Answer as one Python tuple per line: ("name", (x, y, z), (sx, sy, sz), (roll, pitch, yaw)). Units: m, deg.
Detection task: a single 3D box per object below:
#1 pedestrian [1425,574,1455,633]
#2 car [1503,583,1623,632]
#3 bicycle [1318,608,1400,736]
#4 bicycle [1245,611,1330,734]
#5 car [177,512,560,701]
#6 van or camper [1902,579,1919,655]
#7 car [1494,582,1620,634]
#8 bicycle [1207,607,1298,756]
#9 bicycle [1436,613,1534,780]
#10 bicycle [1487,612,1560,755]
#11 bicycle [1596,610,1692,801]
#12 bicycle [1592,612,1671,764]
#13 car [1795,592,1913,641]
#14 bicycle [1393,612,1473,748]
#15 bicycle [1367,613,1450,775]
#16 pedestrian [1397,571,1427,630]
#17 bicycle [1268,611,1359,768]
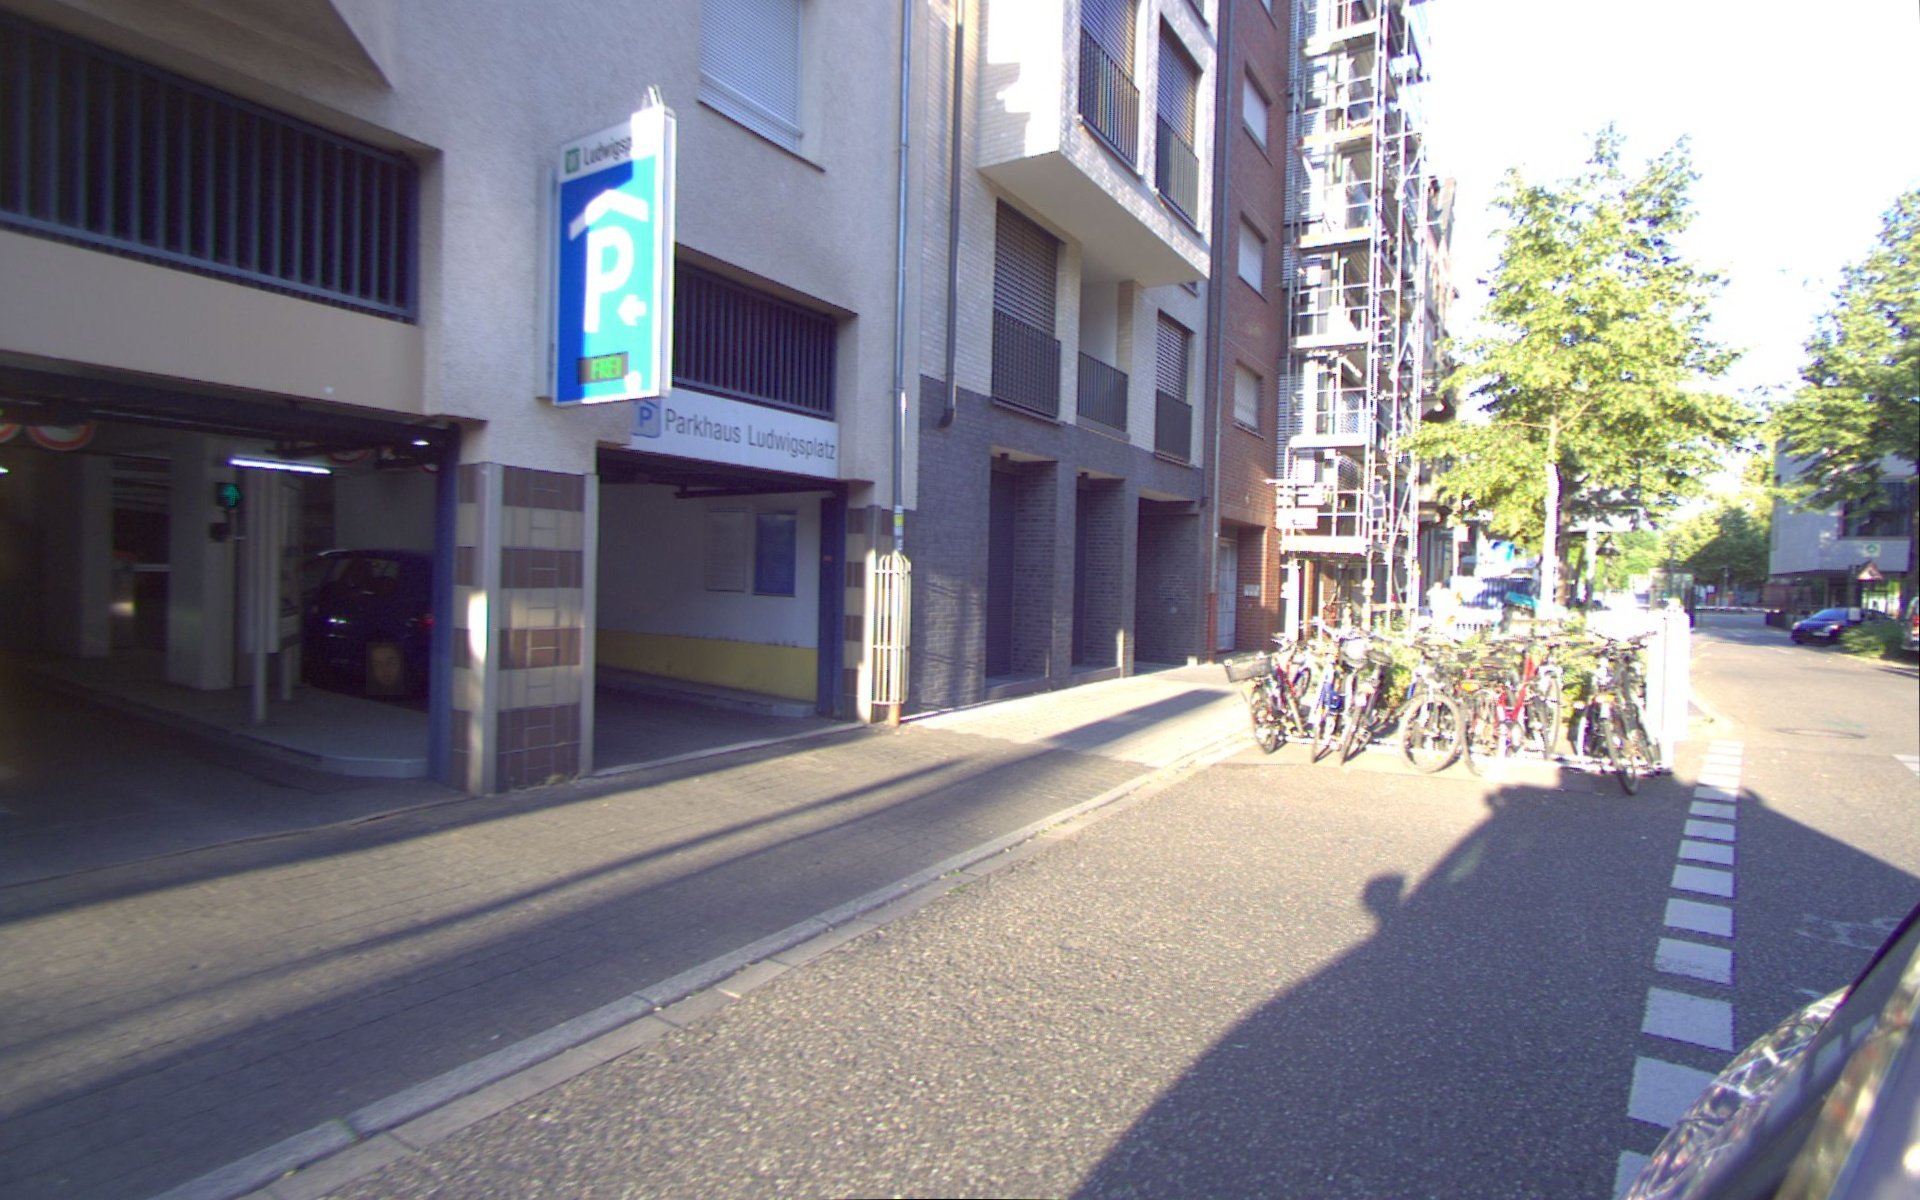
("pedestrian", (14.848, 0.094, 31.303), (0.738, 1.805, 0.649), (2, 1, 31))
("car", (24.210, 0.265, 40.652), (3.975, 1.704, 1.867), (3, 2, 35))
("bicycle", (4.073, 0.682, 10.274), (0.465, 1.158, 1.534), (2, 2, 32))
("bicycle", (3.459, 0.714, 10.610), (0.455, 1.146, 1.534), (2, 2, 32))
("car", (-6.375, -0.035, 10.812), (4.084, 1.582, 1.677), (5, 3, 29))
("van or camper", (27.555, 0.584, 26.046), (4.419, 2.030, 1.838), (4, 2, 31))
("car", (22.673, 0.261, 38.479), (3.975, 1.704, 1.867), (3, 2, 35))
("bicycle", (2.652, 0.683, 9.095), (0.385, 1.198, 1.389), (2, 1, 32))
("bicycle", (4.230, 0.712, 8.104), (0.416, 1.171, 1.531), (2, 2, 37))
("bicycle", (5.309, 0.729, 9.499), (0.485, 1.177, 1.534), (2, 2, 32))
("bicycle", (5.078, 0.716, 7.571), (0.495, 1.235, 1.534), (2, 2, 32))
("bicycle", (5.989, 0.731, 9.070), (0.505, 1.193, 1.534), (2, 2, 32))
("car", (32.947, 0.595, 37.303), (3.620, 1.587, 1.863), (2, 2, -25))
("bicycle", (4.597, 0.721, 9.799), (0.485, 1.164, 1.534), (2, 2, 32))
("bicycle", (3.723, 0.717, 8.357), (0.379, 1.174, 1.534), (2, 2, 32))
("pedestrian", (14.155, 0.017, 31.687), (0.738, 1.805, 0.649), (2, 1, 33))
("bicycle", (3.091, 0.718, 8.782), (0.384, 1.204, 1.534), (2, 2, 32))
